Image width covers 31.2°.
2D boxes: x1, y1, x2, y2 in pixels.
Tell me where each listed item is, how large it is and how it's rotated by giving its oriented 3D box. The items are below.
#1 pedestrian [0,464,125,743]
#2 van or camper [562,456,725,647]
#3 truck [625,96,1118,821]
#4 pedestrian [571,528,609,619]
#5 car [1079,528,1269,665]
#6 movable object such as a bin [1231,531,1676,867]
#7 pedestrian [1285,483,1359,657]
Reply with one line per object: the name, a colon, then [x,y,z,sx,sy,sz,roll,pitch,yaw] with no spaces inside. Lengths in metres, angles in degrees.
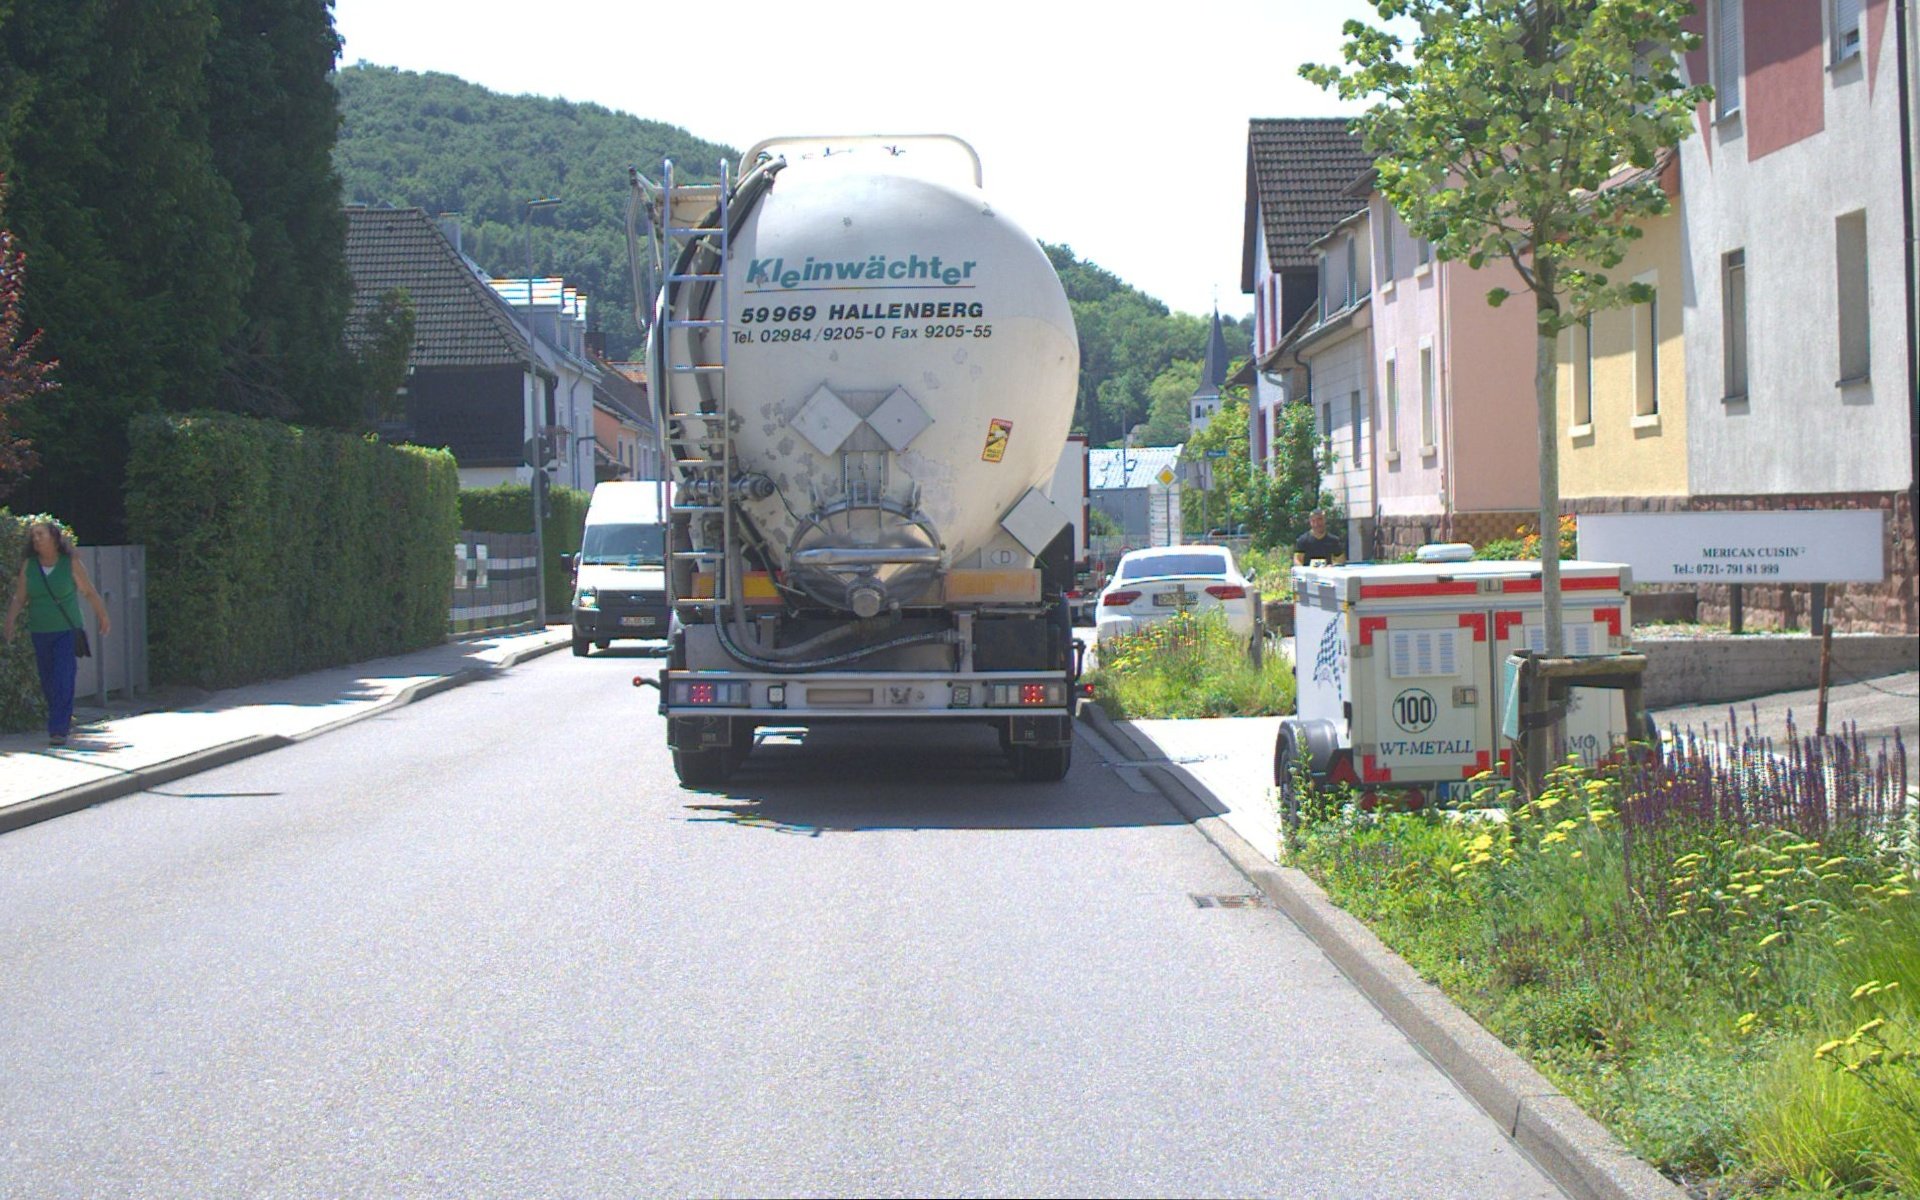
pedestrian: [-6.576,0.026,25.164,0.720,2.007,0.804,1,0,-2]
van or camper: [-4.712,-0.690,51.925,2.037,2.704,5.824,1,0,-1]
truck: [-0.632,-0.871,24.654,2.750,4.043,10.890,0,1,-1]
pedestrian: [-7.488,-0.534,69.610,0.712,1.817,0.898,1,0,-5]
car: [2.411,-0.019,39.756,1.756,1.413,4.633,-3,-1,-1]
movable object such as a bin: [2.256,0.428,16.386,1.571,1.412,3.042,-2,0,-2]
pedestrian: [4.253,-0.348,40.476,0.746,2.007,1.033,1,0,0]
